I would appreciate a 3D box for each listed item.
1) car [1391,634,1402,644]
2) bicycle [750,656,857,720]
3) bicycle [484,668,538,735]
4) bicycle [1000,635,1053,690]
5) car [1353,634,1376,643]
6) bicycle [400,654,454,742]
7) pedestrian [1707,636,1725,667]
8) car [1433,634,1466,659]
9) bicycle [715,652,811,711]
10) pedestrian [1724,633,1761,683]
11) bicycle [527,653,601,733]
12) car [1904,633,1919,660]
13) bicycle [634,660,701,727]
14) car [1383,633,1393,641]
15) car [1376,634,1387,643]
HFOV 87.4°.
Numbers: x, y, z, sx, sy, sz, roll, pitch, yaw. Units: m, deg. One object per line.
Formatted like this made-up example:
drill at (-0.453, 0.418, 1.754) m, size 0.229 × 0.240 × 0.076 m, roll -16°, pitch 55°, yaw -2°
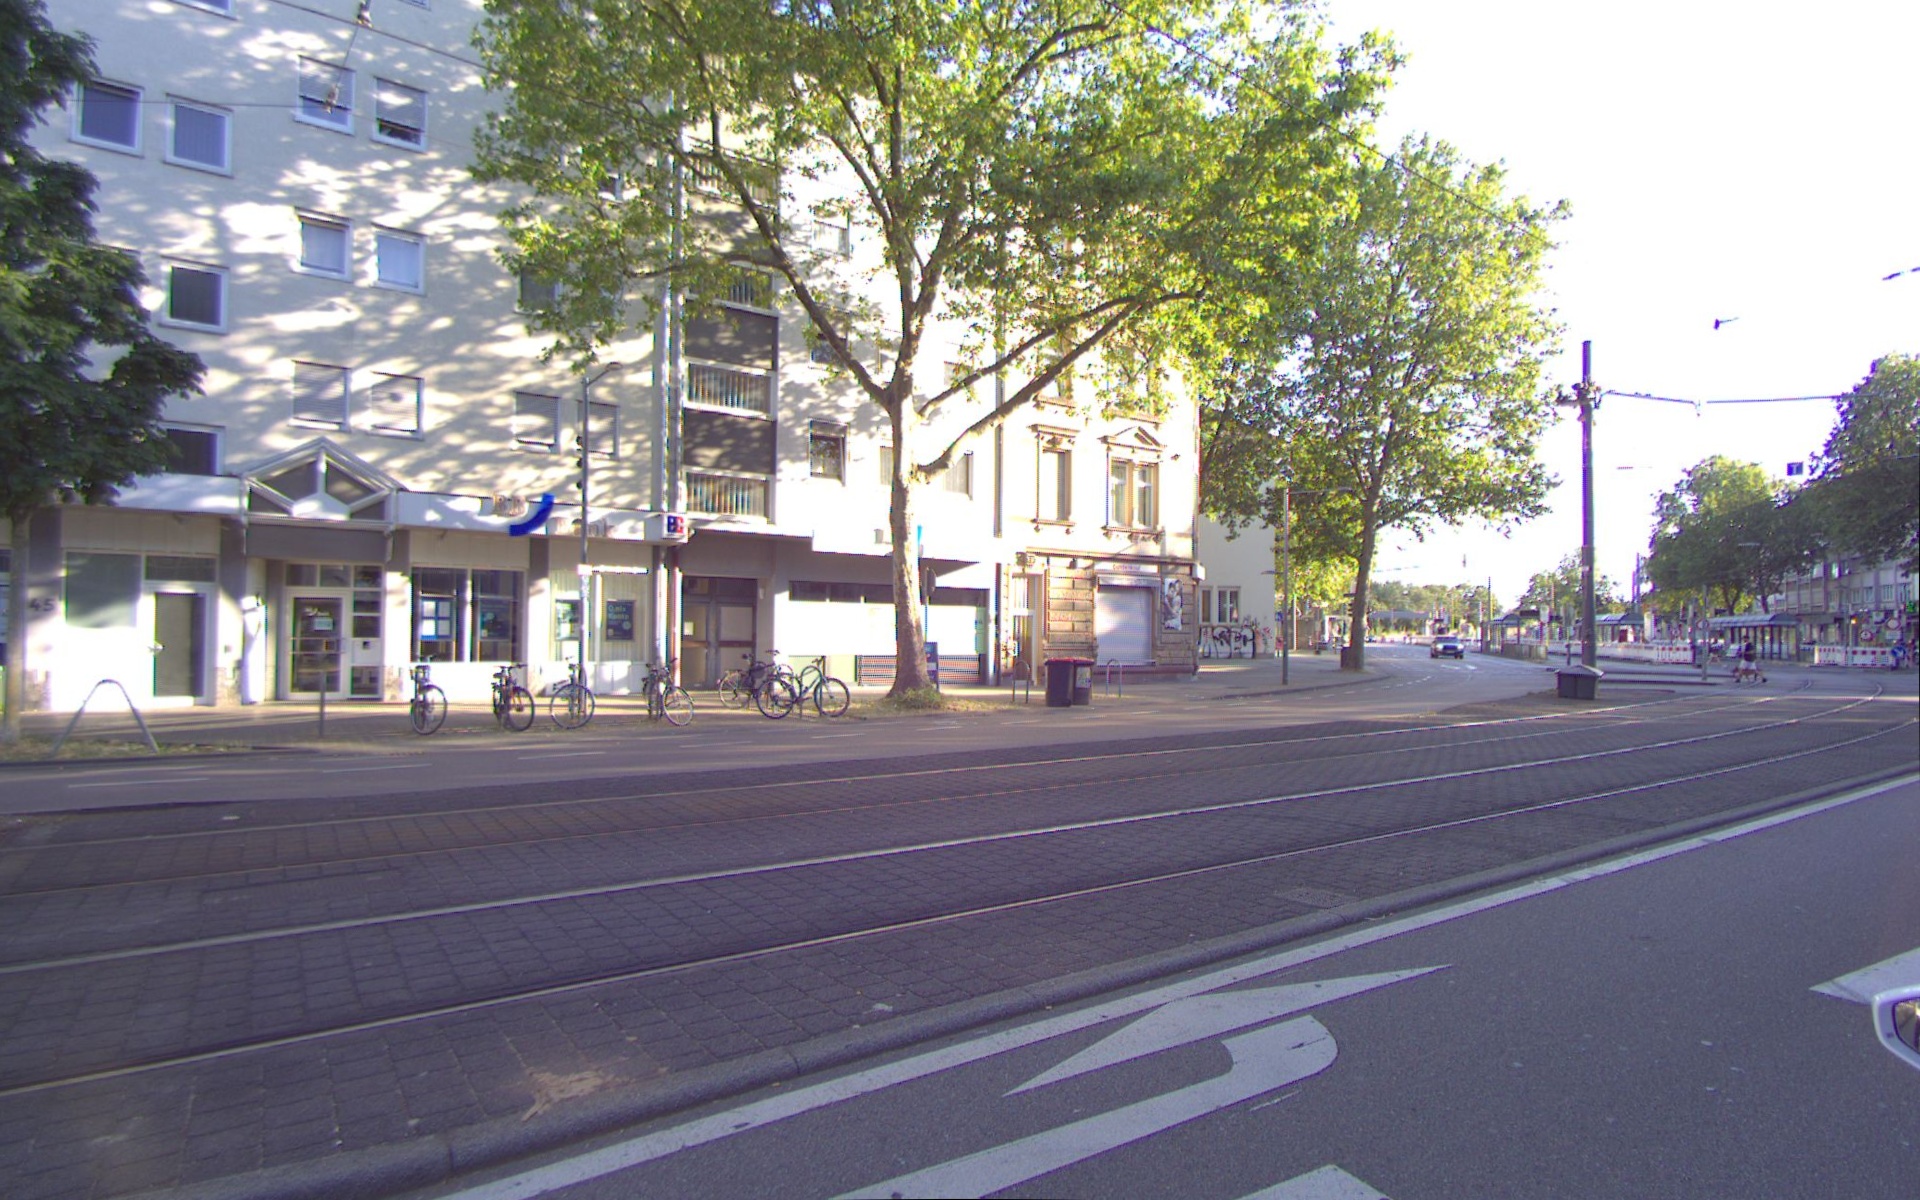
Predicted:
car at (78.763, 7.058, 181.339) m, size 1.814 × 1.706 × 3.715 m, roll -2°, pitch -2°, yaw 23°
bicycle at (-2.829, 1.575, 18.208) m, size 1.800 × 1.091 × 0.649 m, roll 2°, pitch -2°, yaw -29°
bicycle at (-6.988, 1.549, 15.608) m, size 0.467 × 0.900 × 1.729 m, roll 2°, pitch -1°, yaw -34°
bicycle at (1.832, 1.705, 27.810) m, size 0.469 × 1.430 × 1.956 m, roll 1°, pitch -1°, yaw -29°
car at (78.228, 7.403, 194.276) m, size 3.919 × 1.661 × 1.792 m, roll 0°, pitch -2°, yaw 13°
bicycle at (-7.838, 1.401, 14.741) m, size 0.506 × 1.153 × 1.729 m, roll 2°, pitch -1°, yaw -34°
pedestrian at (40.903, 2.794, 54.374) m, size 0.645 × 1.678 × 0.444 m, roll 0°, pitch -2°, yaw 18°
car at (32.971, 3.111, 67.696) m, size 1.962 × 1.661 × 3.997 m, roll 0°, pitch -2°, yaw 25°
bicycle at (-3.912, 1.601, 20.002) m, size 1.777 × 1.132 × 0.617 m, roll 2°, pitch -2°, yaw -29°
pedestrian at (27.772, 2.038, 35.652) m, size 0.510 × 1.750 × 0.893 m, roll 1°, pitch -2°, yaw -27°
bicycle at (-6.354, 1.450, 16.071) m, size 0.724 × 1.128 × 1.729 m, roll 2°, pitch -1°, yaw -34°
car at (64.564, 3.121, 66.156) m, size 1.960 × 1.815 × 4.000 m, roll 2°, pitch -1°, yaw 20°
bicycle at (-5.009, 1.571, 17.146) m, size 0.584 × 1.002 × 1.729 m, roll 2°, pitch -1°, yaw -34°
car at (89.559, 7.773, 210.271) m, size 1.814 × 1.706 × 3.716 m, roll 0°, pitch -2°, yaw 23°
car at (79.442, 7.223, 189.321) m, size 1.814 × 1.706 × 3.716 m, roll 0°, pitch -2°, yaw 23°
